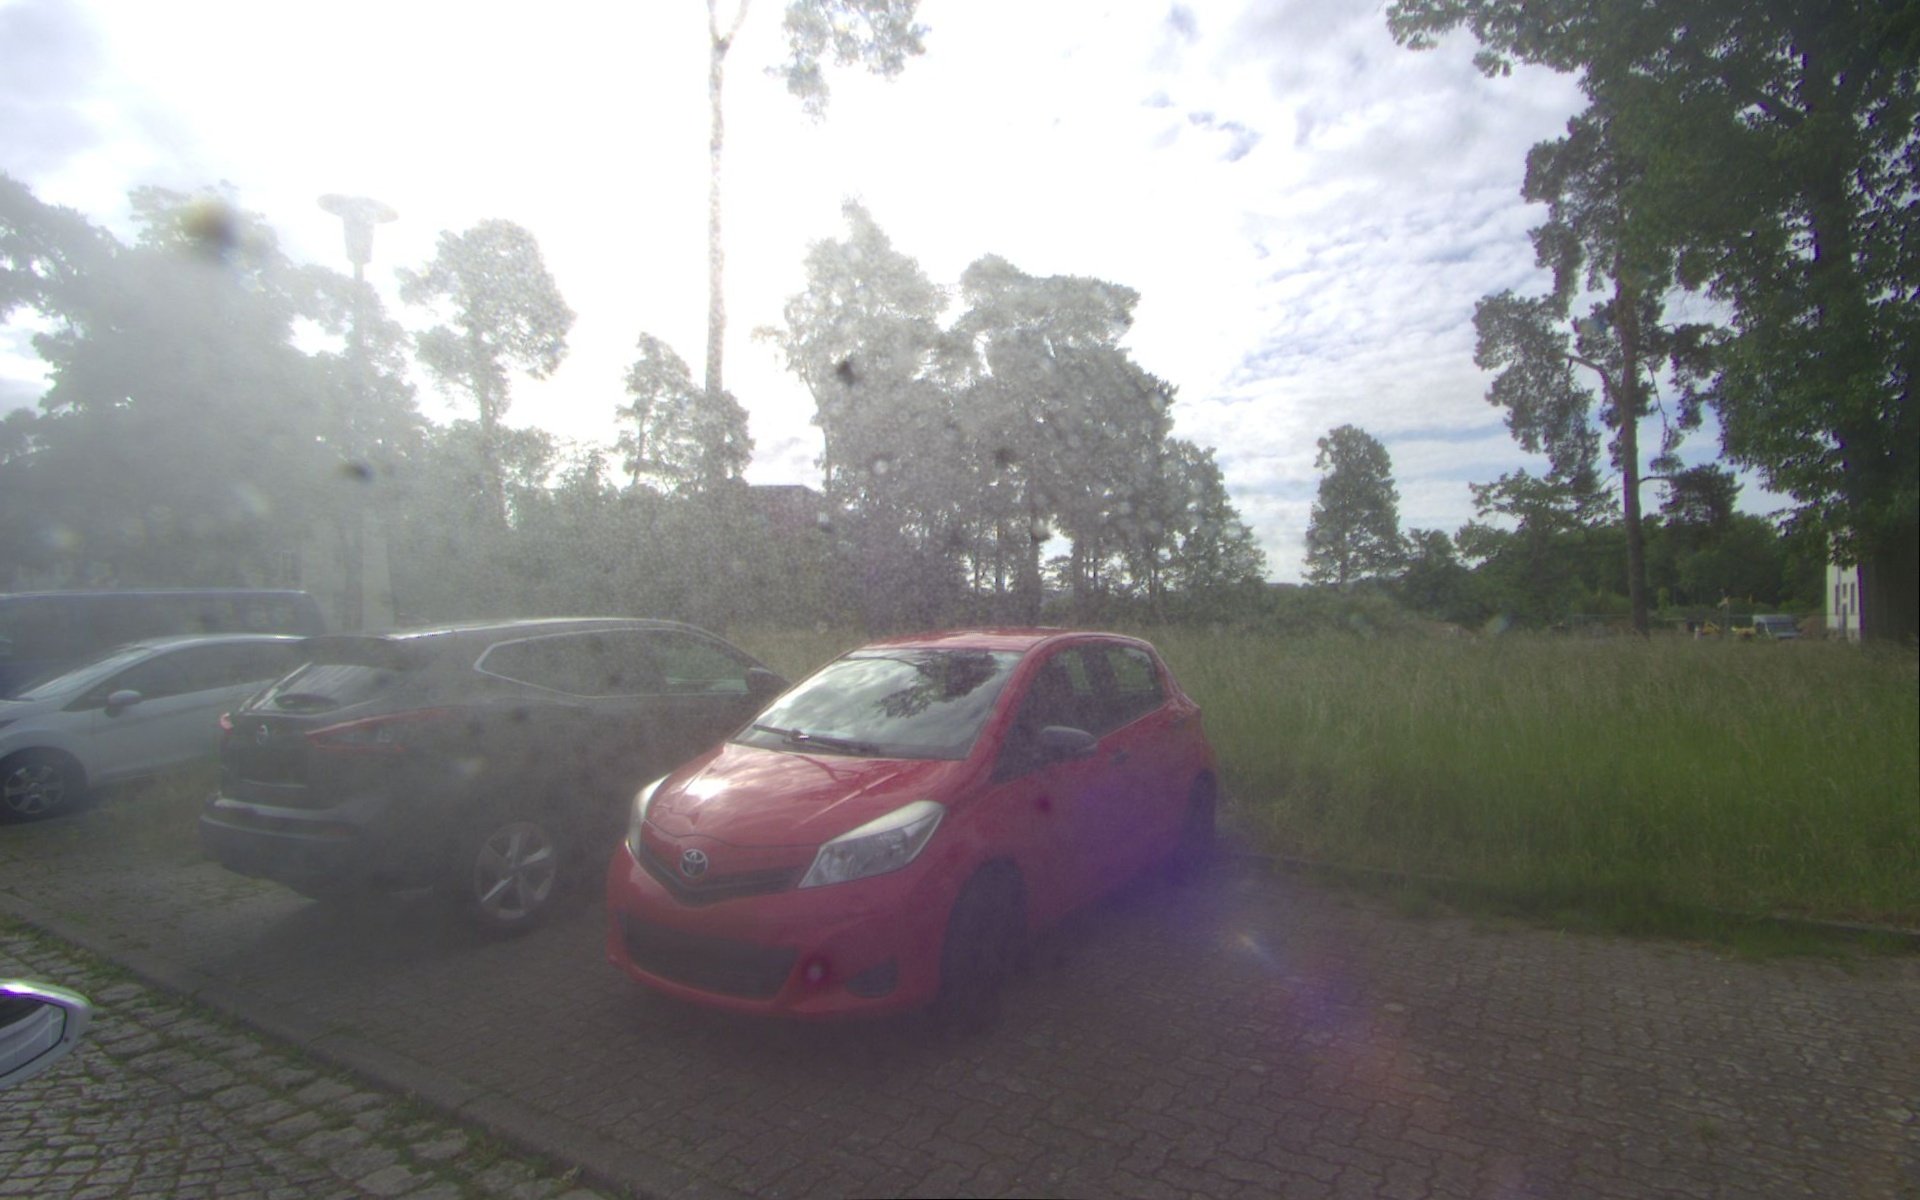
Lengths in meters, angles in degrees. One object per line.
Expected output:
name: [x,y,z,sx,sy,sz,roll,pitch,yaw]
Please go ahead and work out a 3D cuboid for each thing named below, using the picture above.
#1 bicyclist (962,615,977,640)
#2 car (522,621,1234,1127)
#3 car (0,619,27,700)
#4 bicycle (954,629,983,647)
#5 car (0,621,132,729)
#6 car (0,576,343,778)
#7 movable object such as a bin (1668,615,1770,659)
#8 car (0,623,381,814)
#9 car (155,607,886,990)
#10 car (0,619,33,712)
bicyclist: [0.637,1.860,67.568,0.761,1.717,0.724,0,-1,33]
car: [-0.011,0.887,5.136,1.726,1.479,3.784,-1,0,32]
car: [-18.766,1.093,17.249,1.501,1.468,3.666,-1,0,30]
bicycle: [0.562,2.559,67.595,1.904,1.244,0.722,0,-1,32]
car: [-14.115,1.067,13.963,1.501,1.468,3.666,-1,0,30]
car: [-9.797,0.772,11.055,1.903,1.980,4.747,-1,0,30]
movable object such as a bin: [49.247,2.410,65.182,2.133,2.688,5.981,0,-2,1]
car: [-7.770,0.991,9.475,1.590,1.468,3.667,-1,0,29]
car: [-2.307,0.854,6.359,1.725,1.573,4.023,-1,0,29]
car: [-16.650,1.058,15.074,1.501,1.468,3.666,-1,0,30]
